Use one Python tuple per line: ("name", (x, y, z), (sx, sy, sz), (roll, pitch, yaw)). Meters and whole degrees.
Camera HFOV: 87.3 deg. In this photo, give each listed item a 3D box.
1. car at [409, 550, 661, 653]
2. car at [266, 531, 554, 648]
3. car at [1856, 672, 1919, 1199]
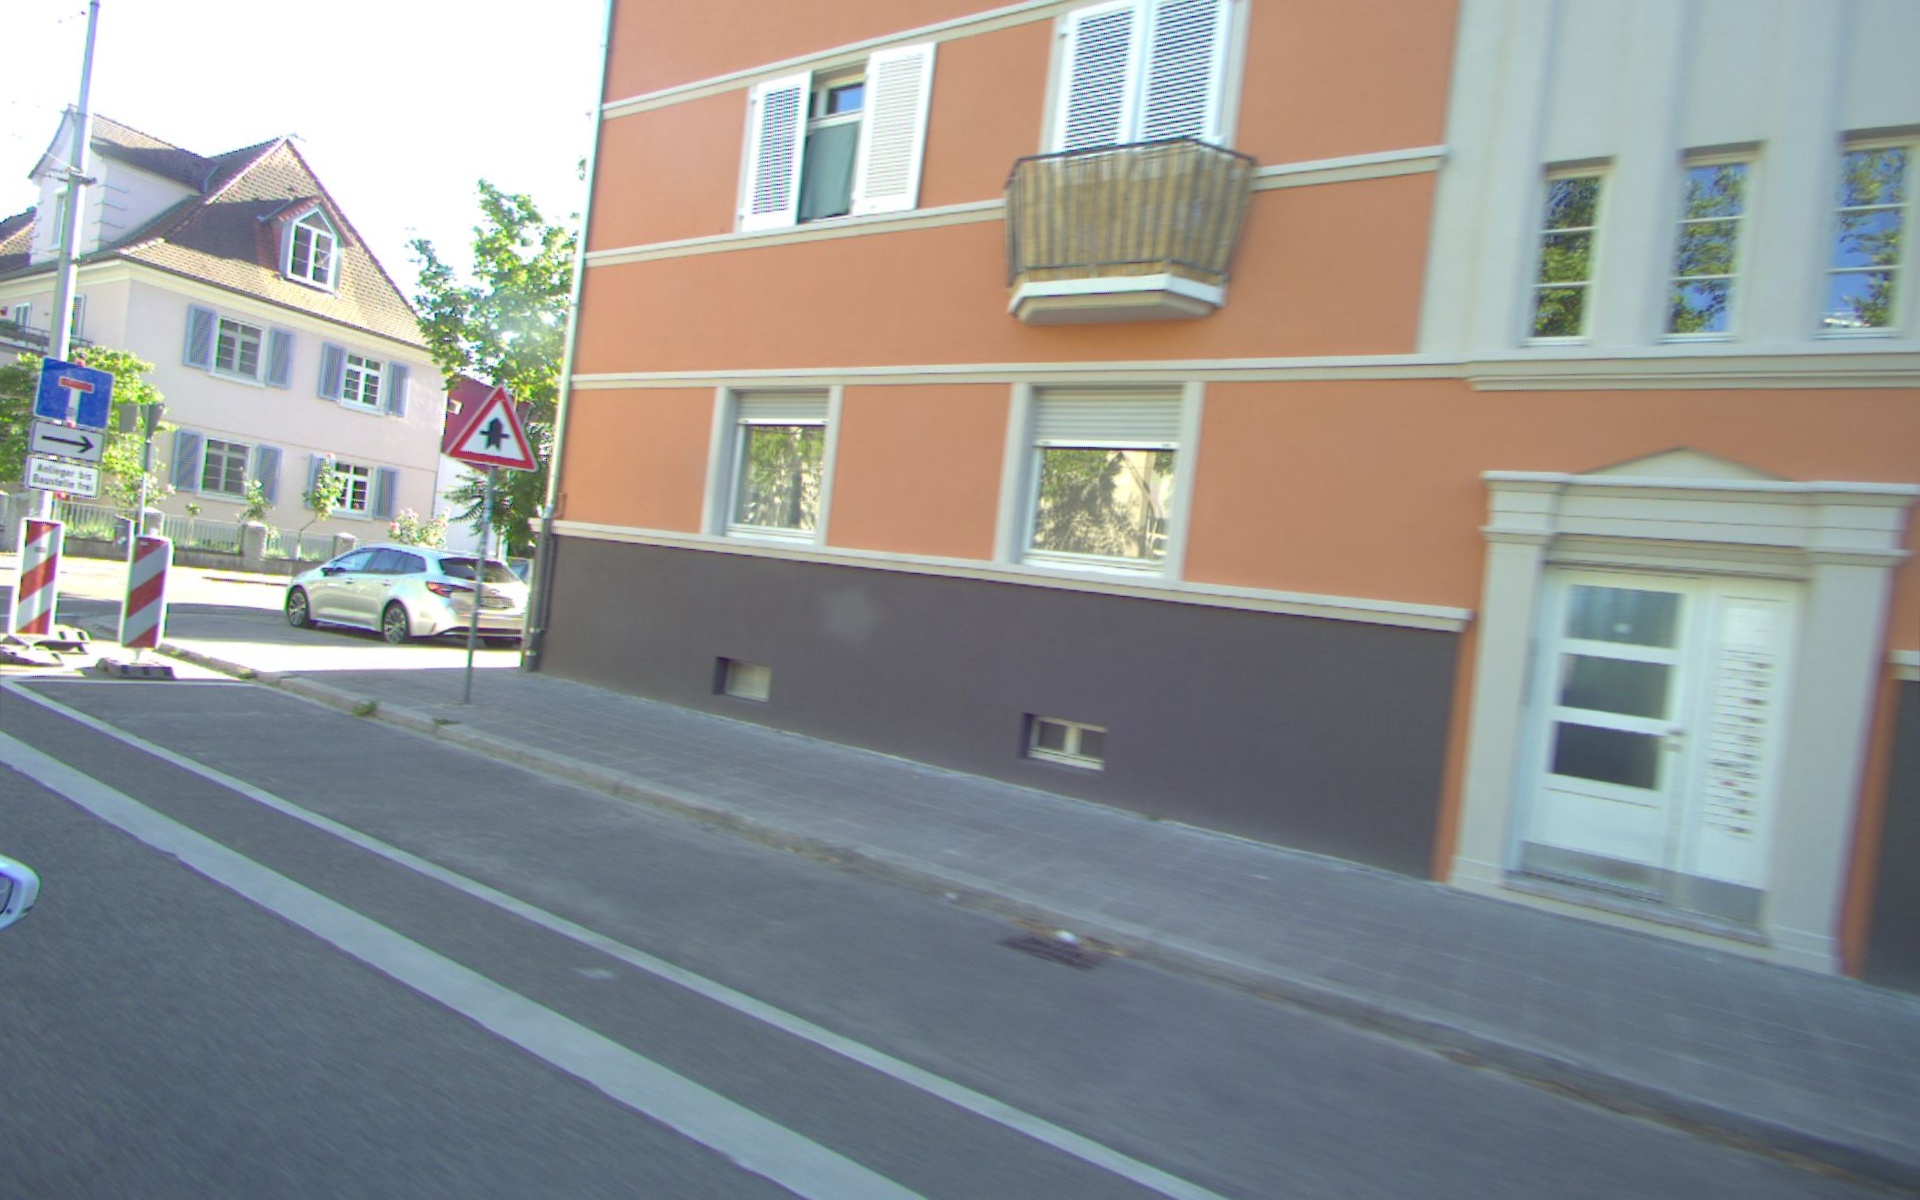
("car", (-7.672, 0.016, 18.052), (4.440, 1.476, 1.776), (4, -1, 30))
("car", (-8.376, -0.183, 15.220), (4.440, 1.406, 1.705), (4, -1, 30))
("car", (4.623, 1.257, 1.704), (4.199, 1.831, 1.706), (7, -1, 30))
